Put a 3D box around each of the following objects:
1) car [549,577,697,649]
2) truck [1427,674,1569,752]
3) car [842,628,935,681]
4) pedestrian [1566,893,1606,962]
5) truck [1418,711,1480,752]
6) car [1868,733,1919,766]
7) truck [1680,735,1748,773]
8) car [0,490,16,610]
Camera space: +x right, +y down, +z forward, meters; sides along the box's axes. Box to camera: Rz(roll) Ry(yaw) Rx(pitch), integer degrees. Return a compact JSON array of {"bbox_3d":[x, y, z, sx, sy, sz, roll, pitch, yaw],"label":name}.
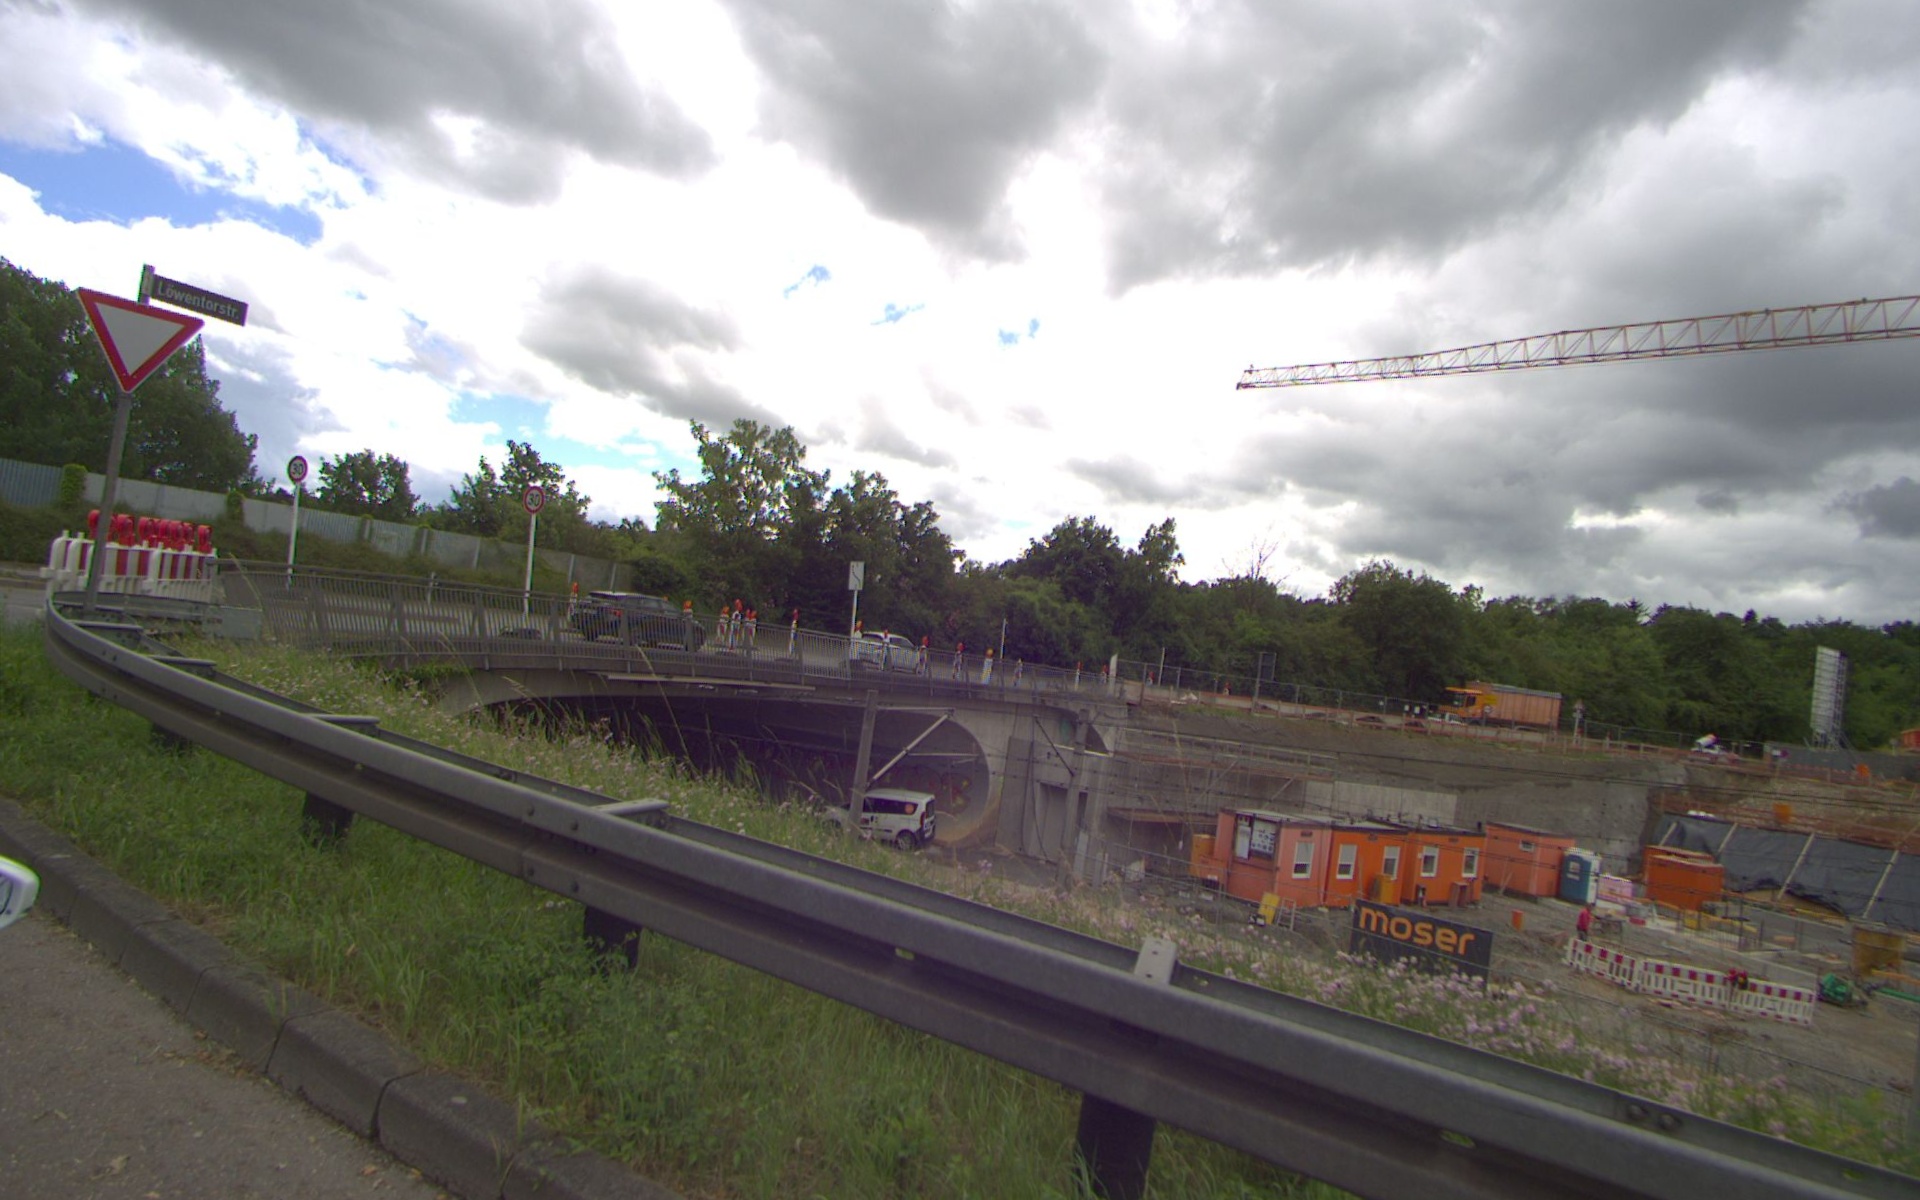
[{"bbox_3d":[-9.566,0.426,28.863,1.792,1.569,3.790,8,-2,23],"label":"car"},{"bbox_3d":[38.921,8.165,72.730,9.660,4.268,3.108,9,-2,-20],"label":"truck"},{"bbox_3d":[-2.897,2.301,41.738,1.689,1.692,3.999,6,-4,31],"label":"car"},{"bbox_3d":[20.491,10.725,32.933,0.799,2.032,0.696,14,-7,-39],"label":"pedestrian"},{"bbox_3d":[32.337,8.679,66.569,3.183,2.034,1.736,11,-4,-17],"label":"truck"},{"bbox_3d":[73.883,11.766,79.040,3.942,2.035,1.995,9,-4,-17],"label":"car"},{"bbox_3d":[56.368,11.503,75.254,3.946,2.033,1.995,12,-4,-17],"label":"truck"},{"bbox_3d":[-11.071,-0.551,9.727,1.784,1.570,3.971,8,-2,-29],"label":"car"}]
